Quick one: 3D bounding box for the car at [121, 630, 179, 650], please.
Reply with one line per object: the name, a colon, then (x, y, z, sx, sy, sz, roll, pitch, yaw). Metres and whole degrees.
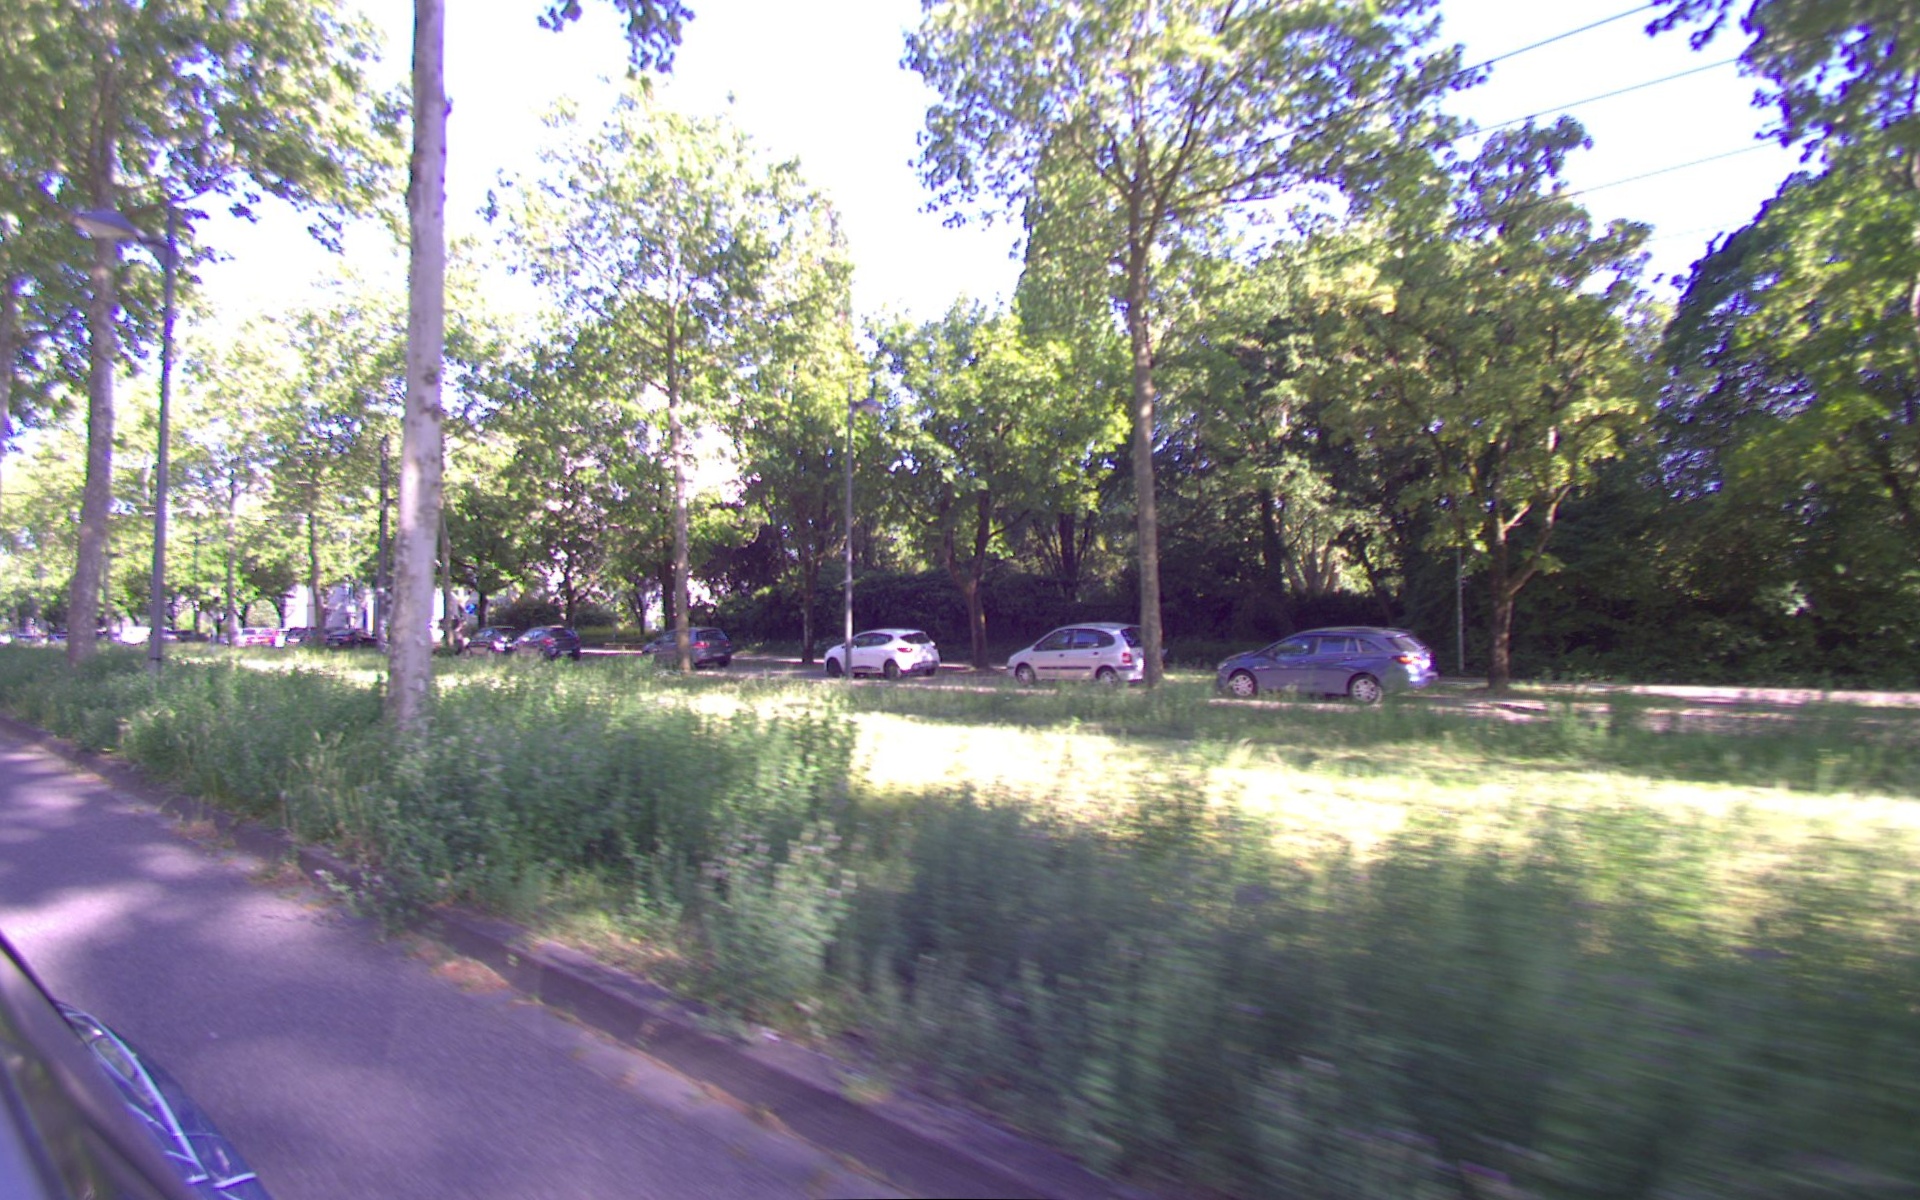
car: (-74.758, 3.676, 93.449, 1.821, 1.722, 3.988, -1, 0, 9)

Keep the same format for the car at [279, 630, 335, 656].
car: (-43.585, 2.846, 67.629, 1.858, 1.579, 4.010, 0, 0, -13)

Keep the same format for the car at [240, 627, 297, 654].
car: (-49.163, 2.834, 72.042, 1.868, 1.722, 4.512, 0, 0, -13)

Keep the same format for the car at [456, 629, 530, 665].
car: (-22.024, 2.170, 47.634, 3.815, 1.507, 1.732, -1, 2, 41)

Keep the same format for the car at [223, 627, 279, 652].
car: (-52.679, 2.925, 75.293, 1.868, 1.722, 4.512, 0, 0, -13)

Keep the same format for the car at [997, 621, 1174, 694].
car: (3.159, 1.394, 25.928, 4.188, 1.608, 1.796, -1, 2, 42)

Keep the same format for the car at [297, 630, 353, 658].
car: (-40.931, 2.807, 65.315, 1.858, 1.579, 4.010, 0, 0, -13)

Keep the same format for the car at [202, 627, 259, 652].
car: (-55.342, 3.002, 76.859, 1.868, 1.722, 4.512, 0, 0, -13)

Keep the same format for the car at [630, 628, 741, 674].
car: (-10.168, 1.837, 37.384, 4.175, 1.499, 1.820, -1, 2, 39)

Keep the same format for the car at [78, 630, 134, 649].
car: (-82.858, 3.782, 98.219, 1.821, 1.722, 3.988, -1, 0, 9)

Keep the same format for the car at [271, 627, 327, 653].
car: (-46.570, 2.787, 71.424, 1.868, 1.722, 4.512, 0, 0, -13)

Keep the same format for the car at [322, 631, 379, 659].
car: (-37.498, 2.757, 62.364, 1.858, 1.579, 4.010, 0, 0, -13)

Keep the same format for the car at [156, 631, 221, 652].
car: (-66.643, 3.564, 87.502, 1.879, 1.722, 4.487, -1, 0, 9)

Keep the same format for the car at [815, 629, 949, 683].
car: (-2.404, 1.637, 30.634, 4.022, 1.429, 1.701, -1, 1, 42)

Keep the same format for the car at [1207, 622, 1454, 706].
car: (7.867, 1.277, 21.771, 4.625, 1.499, 1.878, -1, 2, 42)

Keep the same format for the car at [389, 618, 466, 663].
car: (-27.354, 2.042, 51.957, 4.275, 2.072, 1.962, -1, 2, 40)

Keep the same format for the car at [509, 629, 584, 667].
car: (-18.011, 2.070, 43.987, 3.568, 1.499, 1.525, -1, 1, 41)
